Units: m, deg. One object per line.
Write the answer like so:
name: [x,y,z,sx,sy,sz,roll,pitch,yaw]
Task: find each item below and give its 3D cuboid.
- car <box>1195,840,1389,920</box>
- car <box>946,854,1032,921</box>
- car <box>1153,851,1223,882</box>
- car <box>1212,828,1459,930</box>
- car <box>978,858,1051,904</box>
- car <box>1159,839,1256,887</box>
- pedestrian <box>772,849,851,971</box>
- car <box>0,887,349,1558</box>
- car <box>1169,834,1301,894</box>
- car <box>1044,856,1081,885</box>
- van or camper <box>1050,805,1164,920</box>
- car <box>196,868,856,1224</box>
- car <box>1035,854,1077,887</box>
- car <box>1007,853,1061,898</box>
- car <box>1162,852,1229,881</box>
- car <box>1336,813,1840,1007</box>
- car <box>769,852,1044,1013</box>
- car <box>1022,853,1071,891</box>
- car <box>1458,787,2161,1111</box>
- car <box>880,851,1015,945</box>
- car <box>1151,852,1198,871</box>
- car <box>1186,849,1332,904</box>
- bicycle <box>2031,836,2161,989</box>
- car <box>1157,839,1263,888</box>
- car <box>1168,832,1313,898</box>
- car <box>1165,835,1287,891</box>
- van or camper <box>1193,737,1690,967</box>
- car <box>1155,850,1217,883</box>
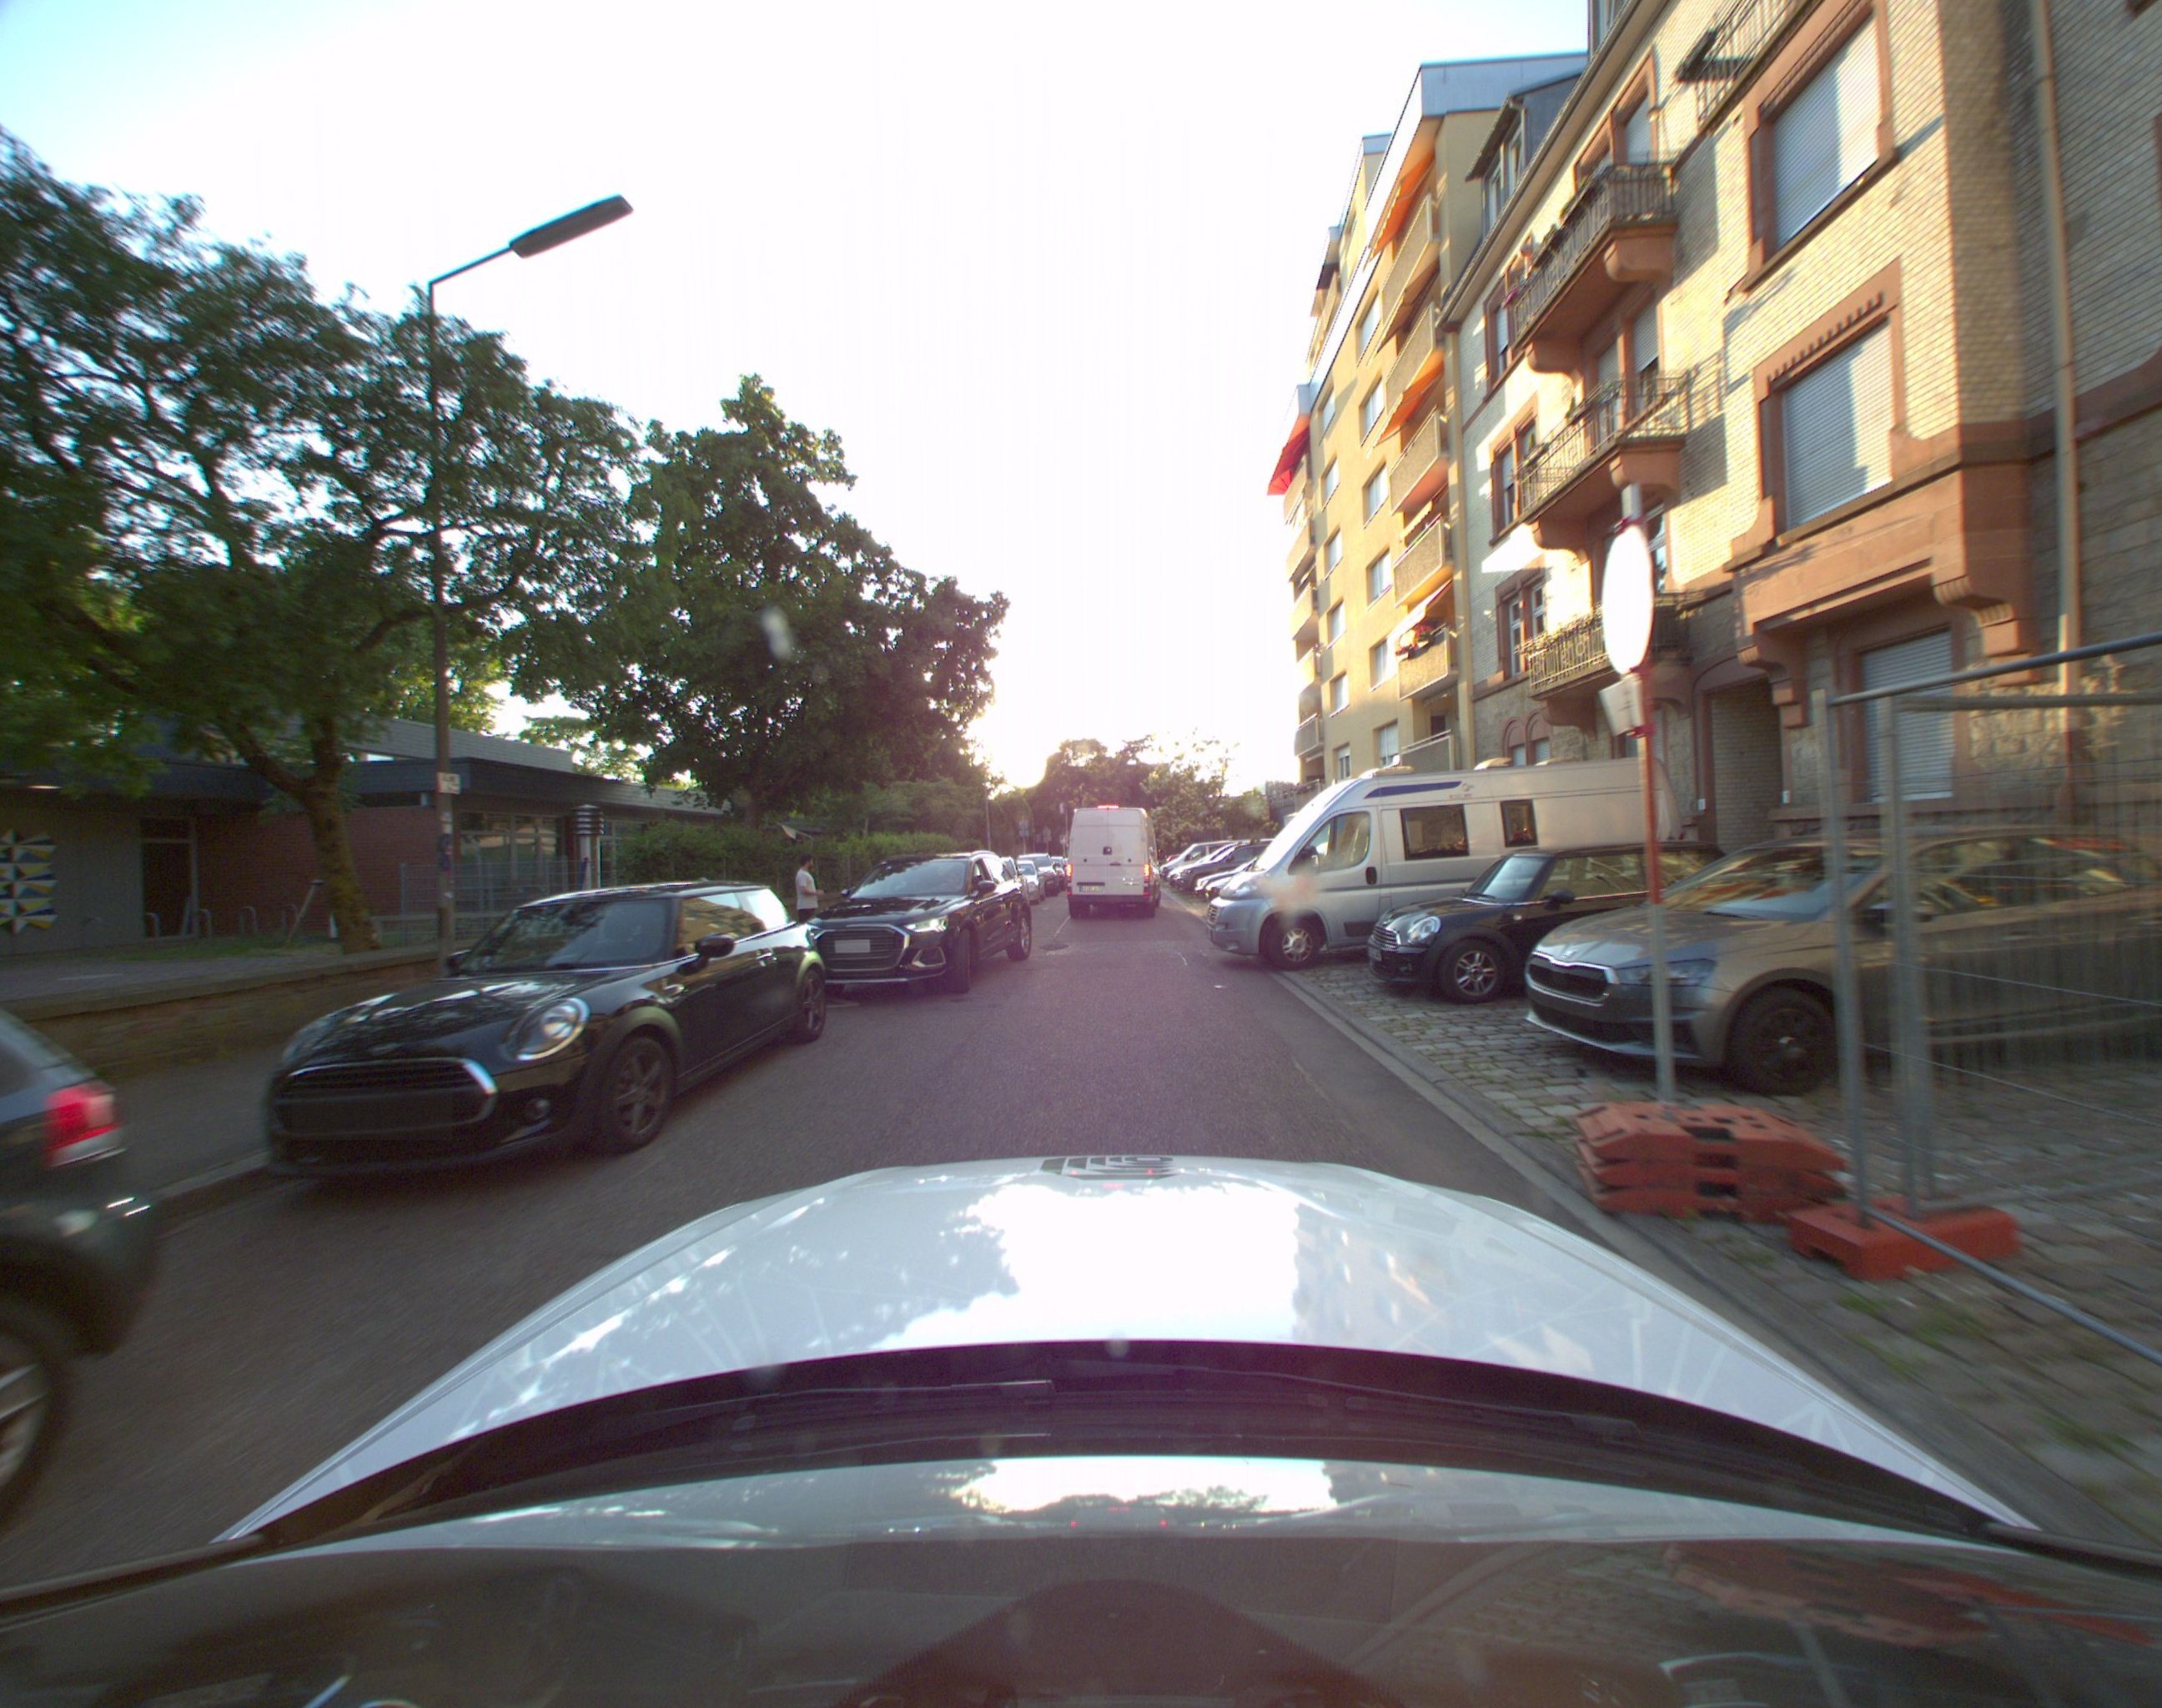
car: [4.858,0.579,19.152,3.977,1.453,1.834,-5,0,-2]
car: [-2.425,0.850,22.445,1.850,1.555,4.099,-4,0,0]
car: [6.326,0.755,48.344,3.970,1.728,2.002,-1,0,3]
car: [5.113,0.473,16.702,4.426,1.728,1.770,-3,0,-4]
car: [-2.156,0.844,27.541,1.986,1.398,4.002,-1,0,2]
car: [6.222,0.419,40.473,4.479,2.230,2.033,-1,0,1]
pedestrian: [-4.234,0.857,12.835,0.934,1.830,0.787,-1,-1,1]
car: [-3.388,0.904,0.542,1.709,1.496,4.362,-4,0,1]
car: [5.825,0.371,31.185,4.689,2.145,2.000,-1,0,1]
car: [-1.049,0.919,47.988,1.986,1.618,4.000,-1,0,1]
van or camper: [0.881,0.190,21.108,2.441,2.547,6.094,0,0,6]
car: [-3.104,0.918,5.714,1.630,1.478,3.996,-4,0,3]
car: [-1.252,0.818,42.277,1.986,1.618,4.000,-1,0,1]
car: [-1.822,0.832,32.757,1.988,1.662,3.997,-1,0,-2]
car: [7.177,0.756,51.357,3.970,1.728,2.002,-1,0,3]
car: [4.873,0.543,8.331,3.918,1.486,1.788,-4,-2,3]
car: [-1.882,0.801,10.450,1.793,1.569,4.578,-3,0,10]
car: [-1.558,0.792,37.963,1.986,1.618,4.000,-1,0,1]
car: [5.048,0.484,5.524,3.977,1.515,2.018,-5,0,-2]
car: [-2.662,0.827,17.216,1.775,1.631,4.005,-4,-1,4]
car: [8.401,0.670,73.618,3.976,1.618,1.999,-1,0,-2]
car: [5.579,0.684,25.860,4.221,1.425,1.720,-4,0,1]
bicycle: [8.577,0.444,6.030,0.629,1.168,2.032,-1,0,-3]
car: [6.002,0.432,38.292,4.689,2.145,2.000,-1,0,1]
car: [5.487,0.371,28.496,4.689,2.145,2.000,-1,0,1]
car: [5.920,0.375,33.612,4.689,2.145,2.000,-1,0,1]
van or camper: [4.647,-0.018,11.259,5.907,2.770,2.110,-1,0,1]
car: [6.871,0.799,53.625,3.969,2.013,2.002,-1,0,4]
